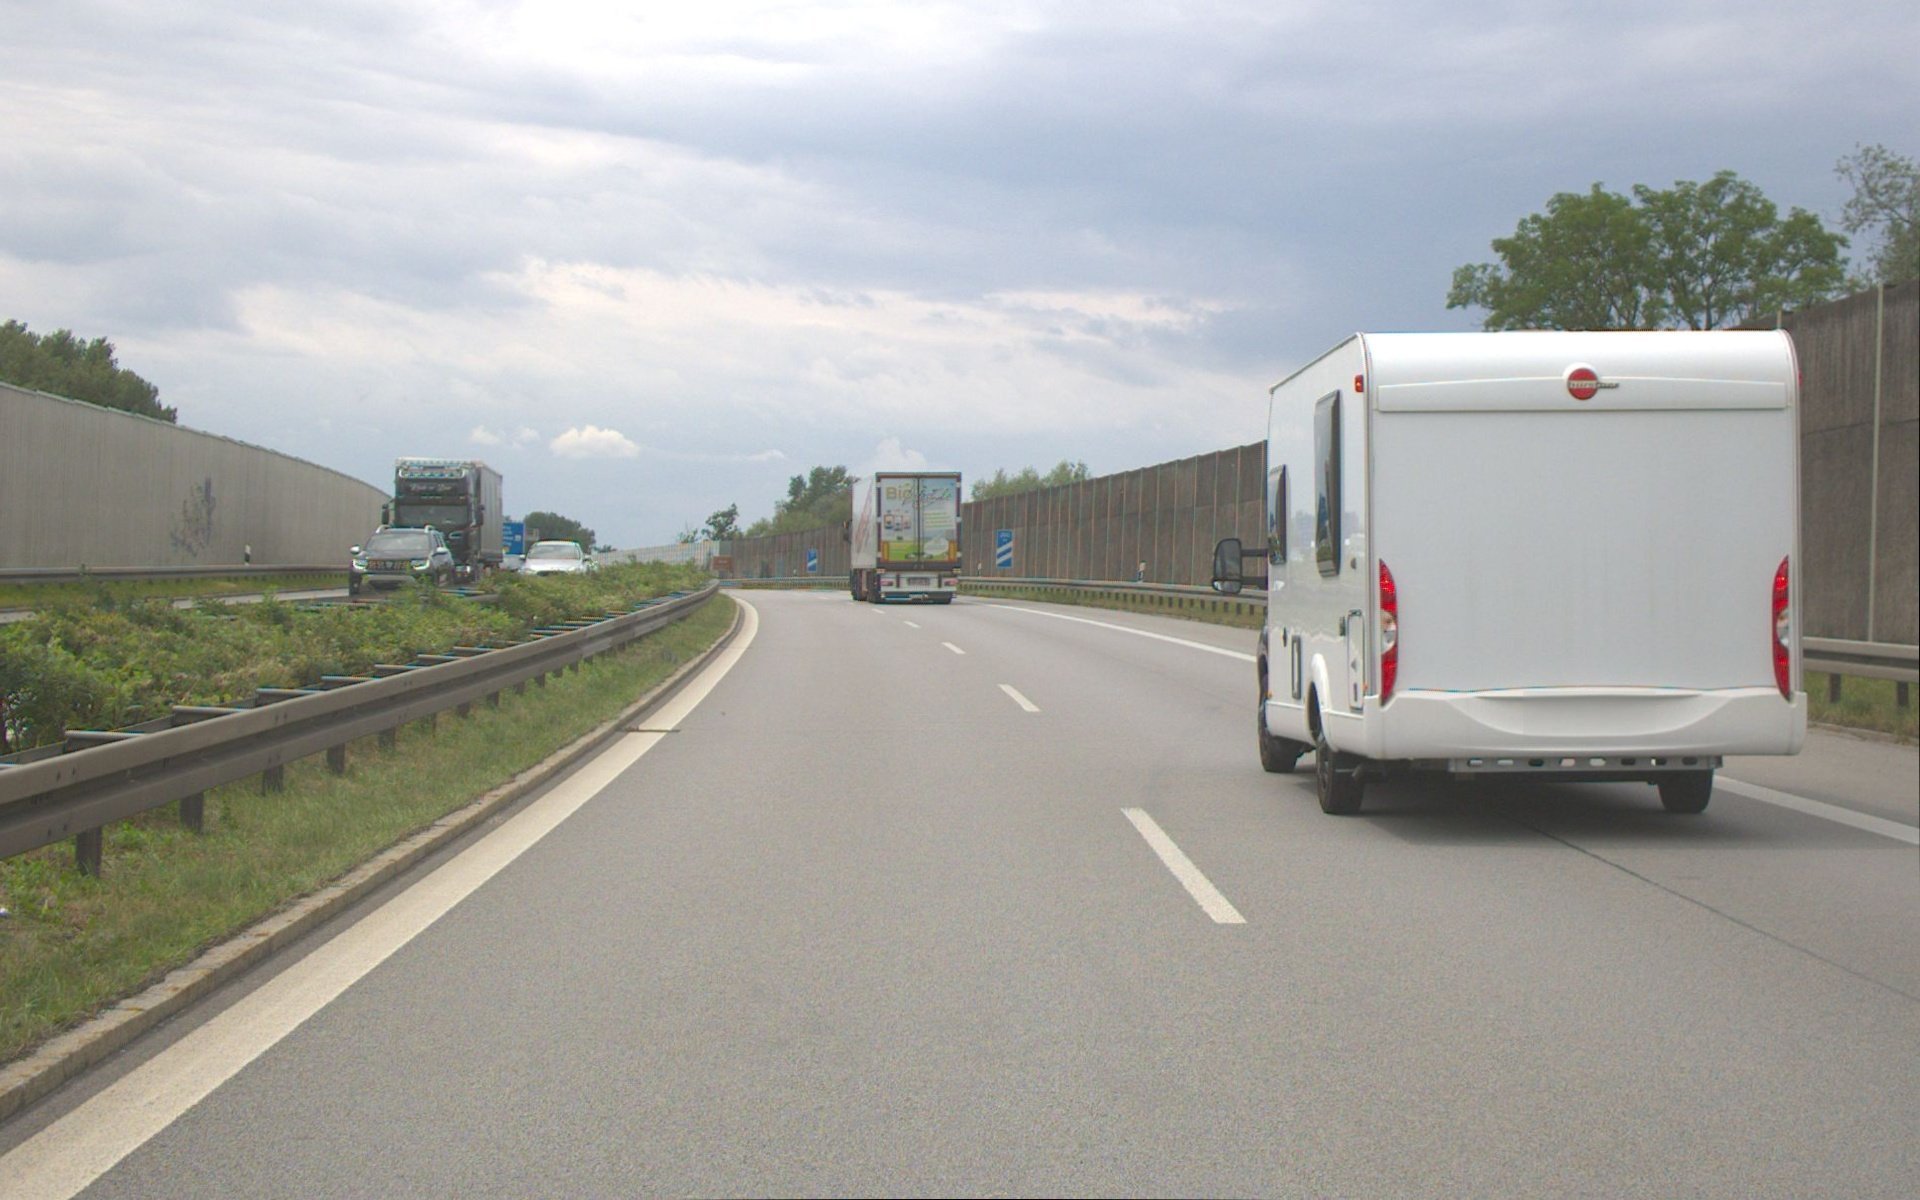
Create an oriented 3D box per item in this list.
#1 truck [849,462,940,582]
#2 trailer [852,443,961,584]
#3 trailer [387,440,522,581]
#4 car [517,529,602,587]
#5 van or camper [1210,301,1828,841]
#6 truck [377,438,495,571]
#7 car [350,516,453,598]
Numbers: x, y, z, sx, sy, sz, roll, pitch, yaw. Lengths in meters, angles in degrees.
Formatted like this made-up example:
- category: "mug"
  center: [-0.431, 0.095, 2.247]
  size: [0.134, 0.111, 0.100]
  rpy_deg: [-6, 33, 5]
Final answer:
- category: "truck"
  center: [-2.284, -2.626, 117.428]
  size: [2.755, 3.946, 5.678]
  rpy_deg: [1, 0, -4]
- category: "trailer"
  center: [-1.835, -2.640, 110.871]
  size: [2.792, 4.160, 14.105]
  rpy_deg: [1, 0, -4]
- category: "trailer"
  center: [-16.163, -2.807, 110.916]
  size: [2.981, 4.225, 14.181]
  rpy_deg: [0, 1, -3]
- category: "car"
  center: [-11.051, -1.165, 95.092]
  size: [1.931, 1.543, 4.567]
  rpy_deg: [1, 1, -2]
- category: "van or camper"
  center: [3.099, -0.194, 21.050]
  size: [2.429, 2.687, 7.226]
  rpy_deg: [1, 1, -1]
- category: "truck"
  center: [-15.800, -2.845, 103.984]
  size: [2.873, 3.845, 6.075]
  rpy_deg: [1, 1, -3]
- category: "car"
  center: [-11.751, -0.912, 72.499]
  size: [1.715, 1.636, 4.705]
  rpy_deg: [1, 1, -4]
